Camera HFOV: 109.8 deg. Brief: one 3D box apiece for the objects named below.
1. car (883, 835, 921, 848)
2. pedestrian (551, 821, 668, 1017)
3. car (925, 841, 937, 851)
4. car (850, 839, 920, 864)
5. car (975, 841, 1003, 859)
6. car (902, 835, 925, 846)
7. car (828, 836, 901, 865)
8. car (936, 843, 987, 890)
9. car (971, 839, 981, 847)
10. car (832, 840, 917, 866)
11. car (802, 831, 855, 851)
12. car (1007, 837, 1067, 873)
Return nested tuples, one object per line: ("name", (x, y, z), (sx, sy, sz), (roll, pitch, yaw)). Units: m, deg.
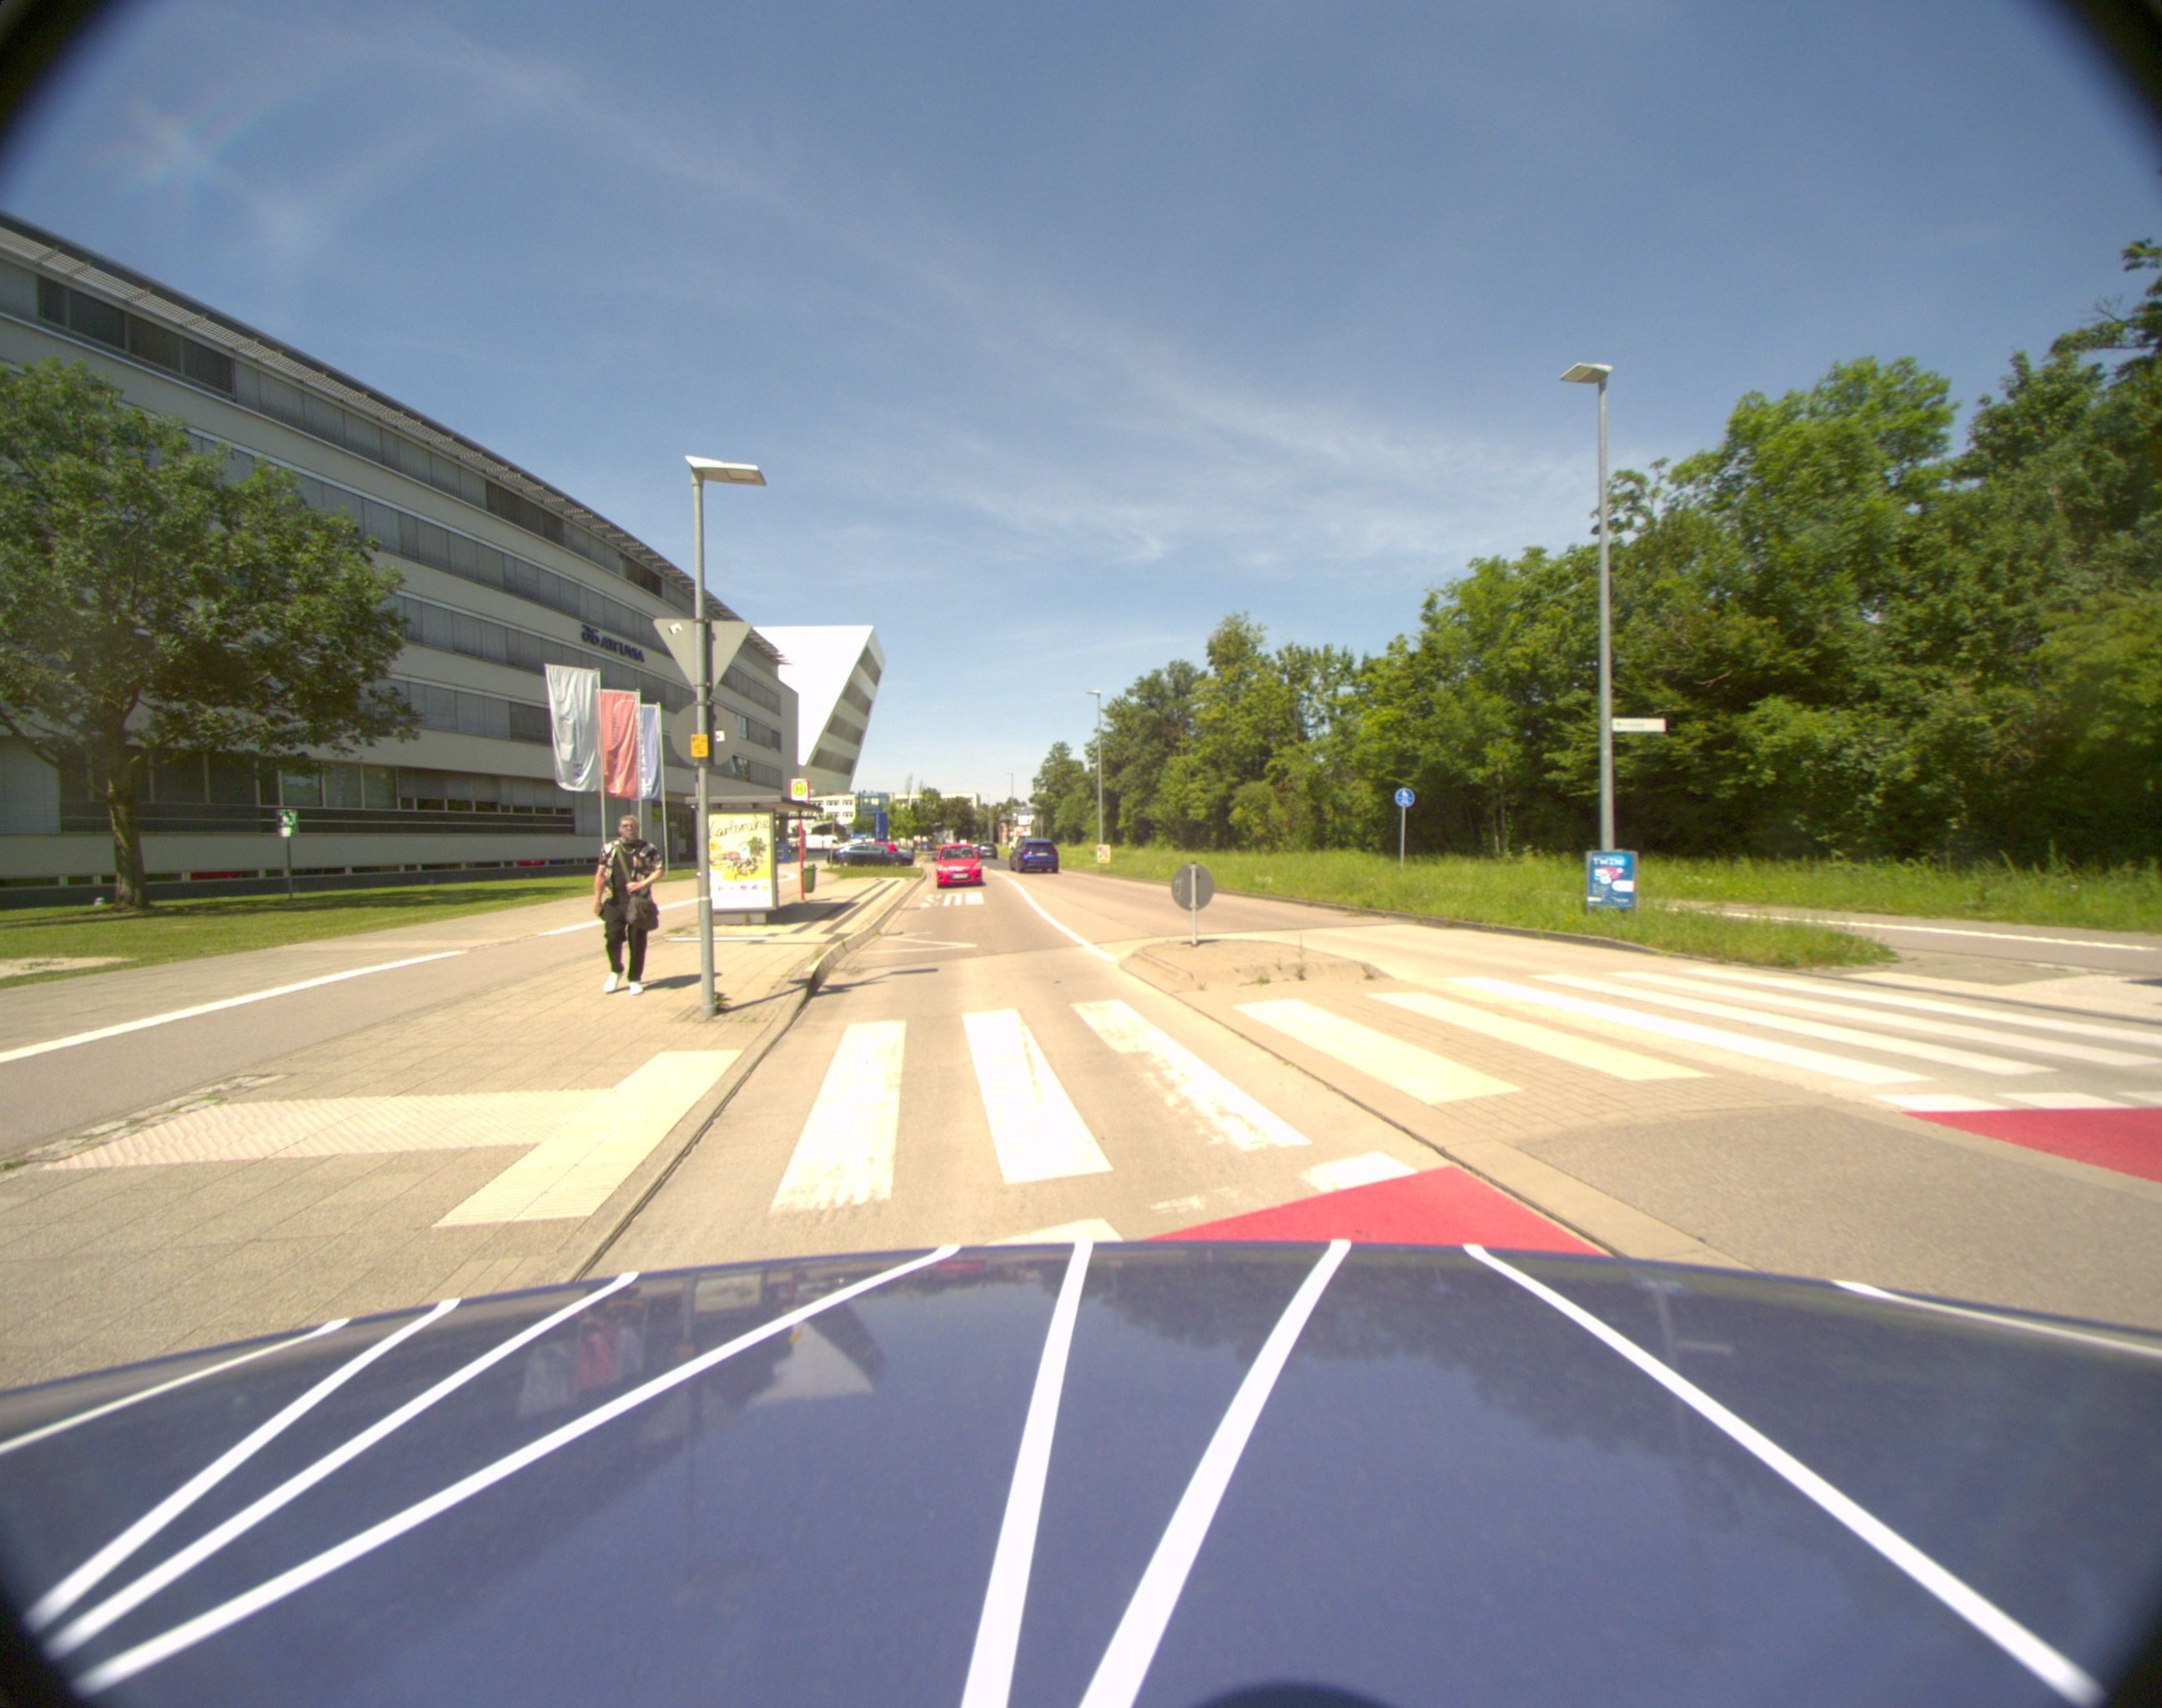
("car", (-33.441, -2.364, 141.955), (6.497, 2.138, 2.163), (-2, 2, -4))
("pedestrian", (-4.602, 0.594, 7.477), (0.710, 1.812, 0.825), (0, 2, -10))
("car", (-24.598, -1.259, 124.423), (1.803, 1.490, 3.995), (-3, 2, -11))
("car", (-12.970, -0.180, 50.531), (4.335, 1.555, 1.784), (0, 2, -9))
("car", (-8.055, -0.334, 66.120), (2.001, 1.470, 4.284), (0, 0, -12))
("car", (-32.621, -2.602, 147.930), (4.207, 1.965, 1.702), (-2, 2, -4))
("car", (-13.042, -0.230, 45.921), (4.000, 1.646, 1.837), (-1, 2, -8))
("car", (-4.353, 0.410, 27.789), (1.663, 1.495, 3.353), (-3, 2, -8))
("car", (-22.646, -2.423, 163.308), (2.000, 1.622, 3.996), (-3, 2, -8))
("car", (-11.725, -0.048, 43.404), (4.583, 1.424, 1.825), (0, 2, -12))
("car", (-37.618, -1.934, 113.419), (6.967, 2.648, 2.253), (-2, 2, -2))
("car", (-2.148, 0.055, 36.154), (2.001, 1.586, 4.317), (-1, 0, -15))
